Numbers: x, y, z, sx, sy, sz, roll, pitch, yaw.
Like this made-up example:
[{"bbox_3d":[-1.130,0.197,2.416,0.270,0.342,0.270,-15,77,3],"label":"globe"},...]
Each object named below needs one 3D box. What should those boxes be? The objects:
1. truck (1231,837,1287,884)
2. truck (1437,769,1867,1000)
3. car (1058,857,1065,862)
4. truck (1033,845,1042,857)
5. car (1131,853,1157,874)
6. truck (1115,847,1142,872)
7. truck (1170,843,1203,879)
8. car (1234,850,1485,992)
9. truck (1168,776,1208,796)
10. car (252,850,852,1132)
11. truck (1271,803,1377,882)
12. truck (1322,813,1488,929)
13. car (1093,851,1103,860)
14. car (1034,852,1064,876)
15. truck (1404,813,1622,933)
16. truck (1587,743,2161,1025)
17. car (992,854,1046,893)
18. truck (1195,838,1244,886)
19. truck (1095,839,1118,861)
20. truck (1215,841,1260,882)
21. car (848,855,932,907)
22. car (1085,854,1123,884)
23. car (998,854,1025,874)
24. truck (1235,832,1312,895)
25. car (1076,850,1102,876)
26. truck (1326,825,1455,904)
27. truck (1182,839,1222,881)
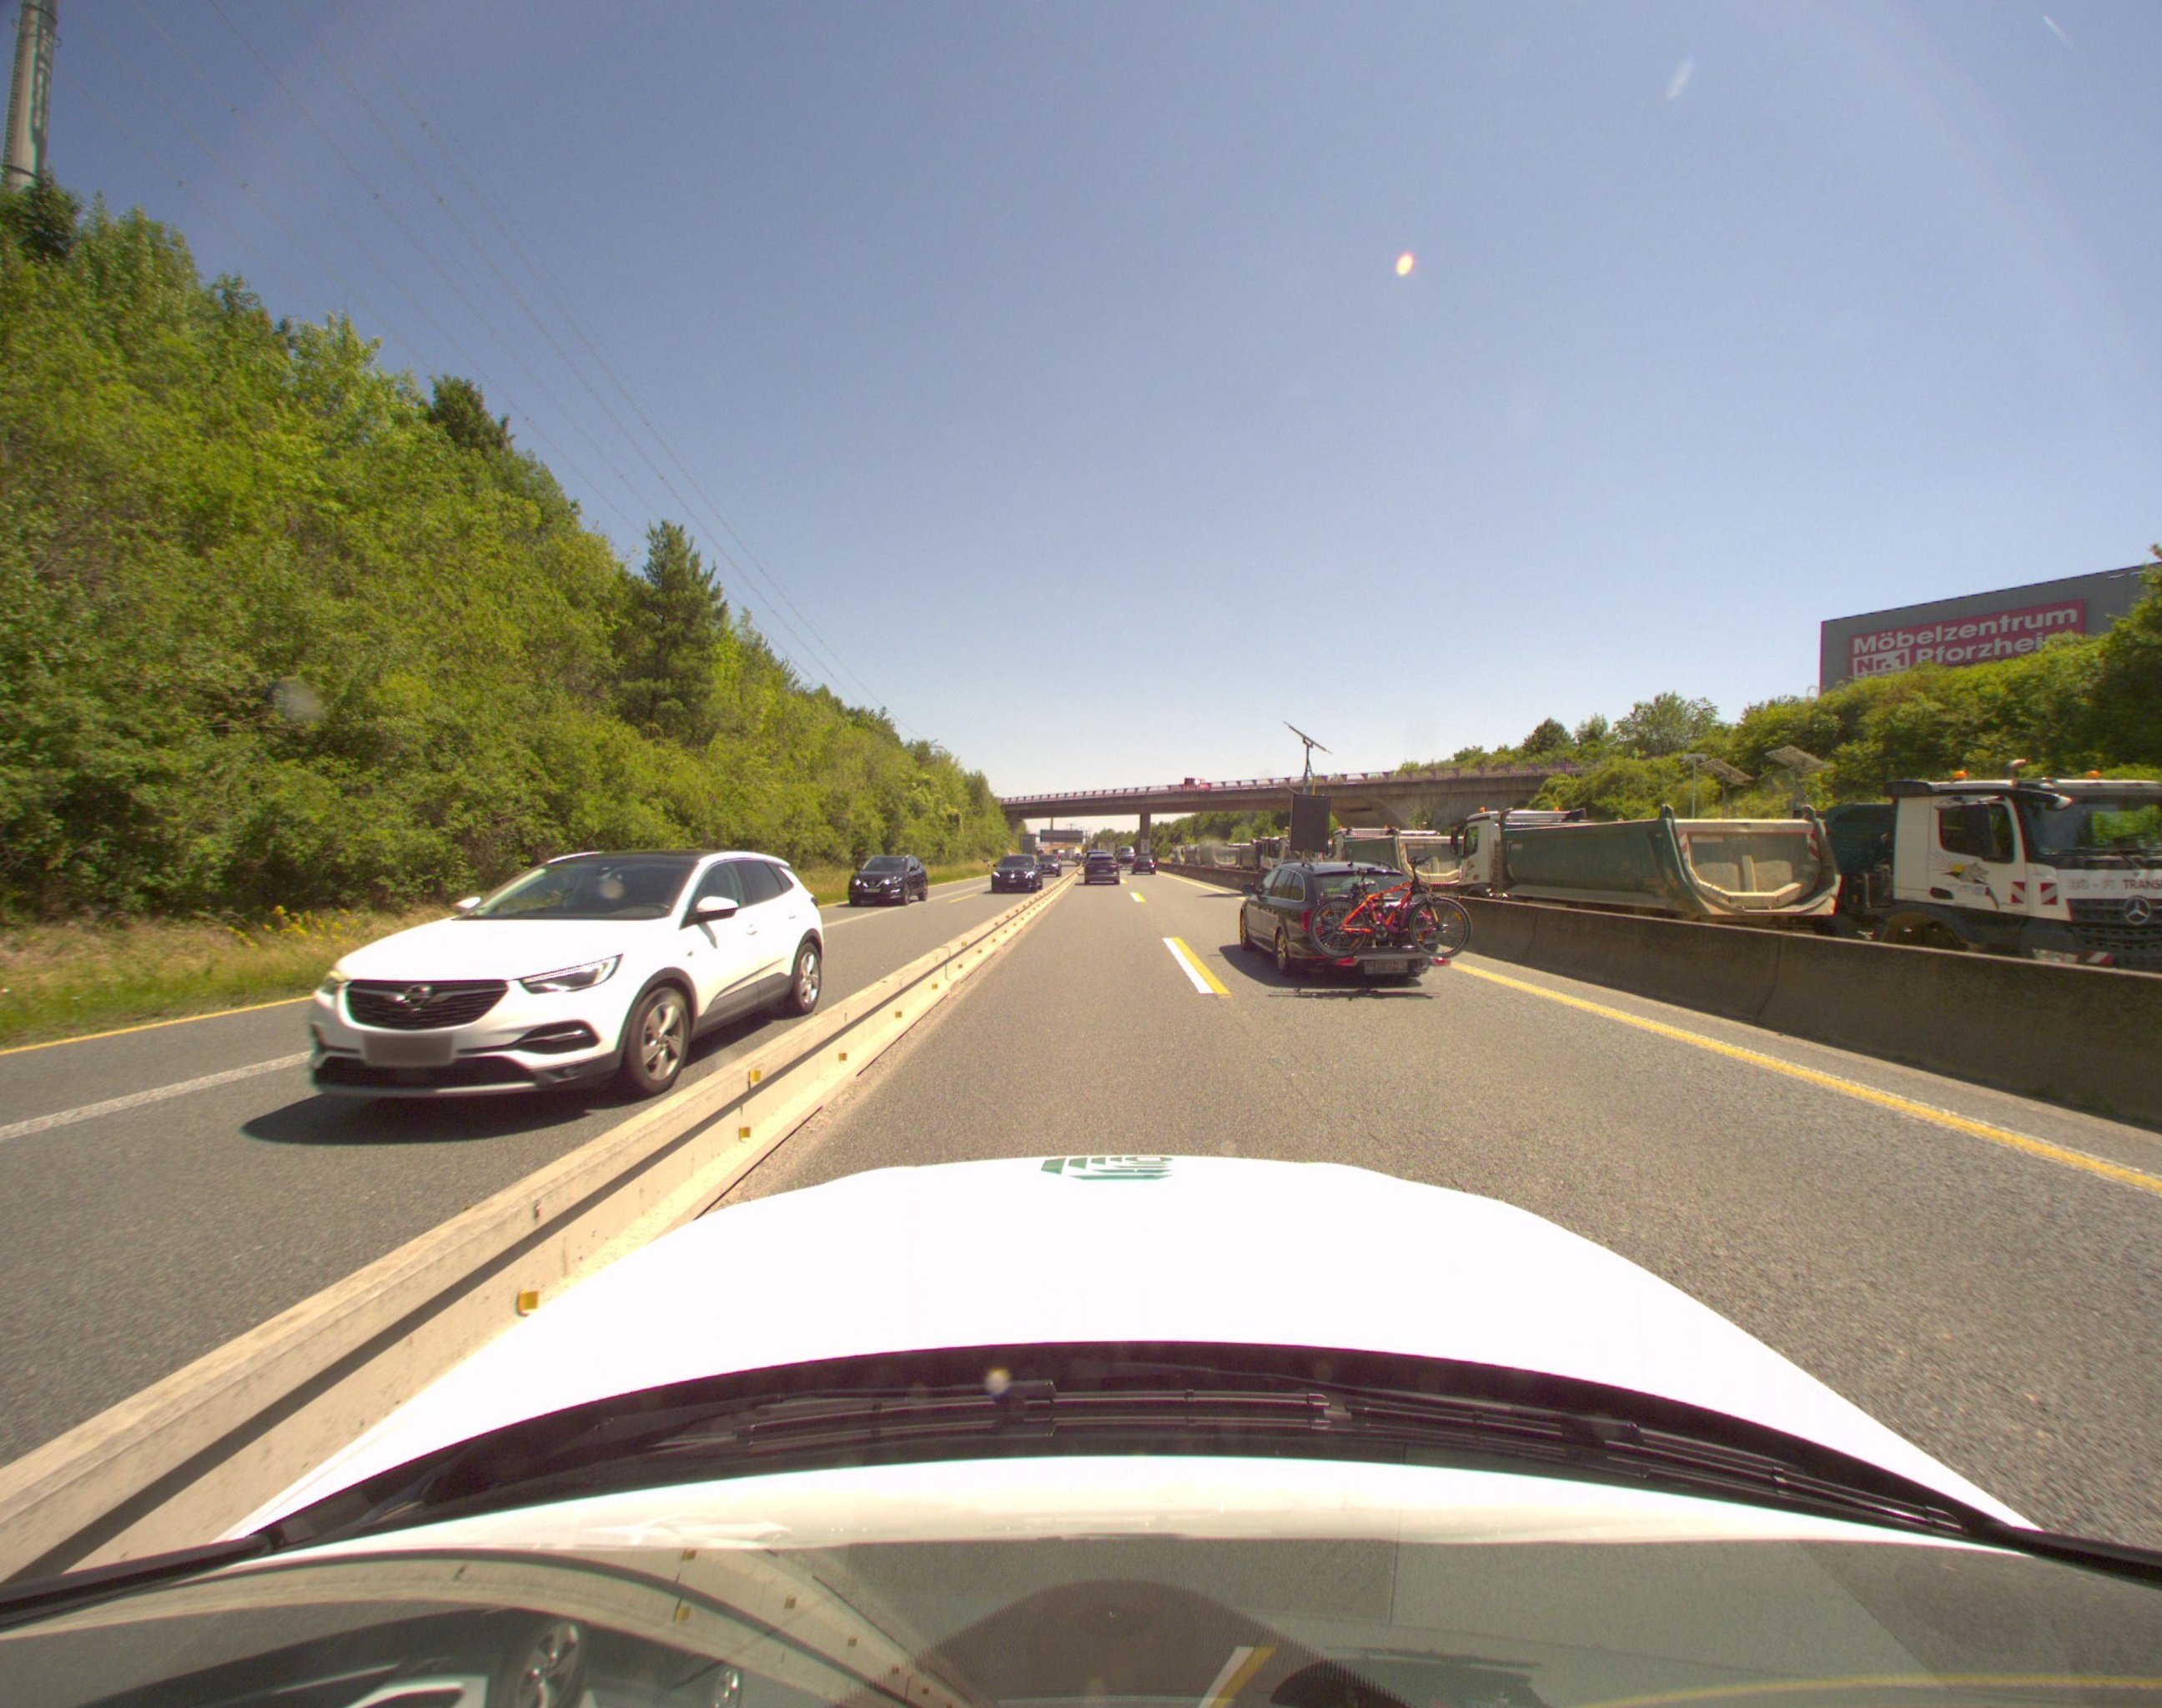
[{"bbox_3d":[14.483,0.498,66.985,2.678,3.557,9.325,0,0,1],"label":"truck"},{"bbox_3d":[10.924,0.479,17.397,2.677,3.557,9.606,0,0,2],"label":"truck"},{"bbox_3d":[-5.140,1.458,211.396,1.668,1.393,4.071,0,-1,1],"label":"car"},{"bbox_3d":[-11.737,-0.789,218.642,2.503,3.186,10.096,0,0,-3],"label":"truck"},{"bbox_3d":[4.906,0.733,63.741,1.892,1.585,4.278,0,0,2],"label":"car"},{"bbox_3d":[4.827,0.527,84.426,2.397,2.558,7.500,0,0,0],"label":"truck"},{"bbox_3d":[11.861,0.783,92.666,2.678,3.843,9.326,0,0,1],"label":"truck"},{"bbox_3d":[3.391,0.722,11.051,1.892,1.490,4.950,0,-1,2],"label":"car"},{"bbox_3d":[13.756,-8.686,104.605,1.944,2.066,5.456,0,-1,-35],"label":"truck"},{"bbox_3d":[-3.544,0.747,6.777,1.837,1.533,4.673,0,0,2],"label":"car"},{"bbox_3d":[12.013,-0.513,41.285,2.678,3.557,9.325,0,0,1],"label":"truck"},{"bbox_3d":[11.399,0.524,29.832,2.677,3.557,9.411,0,0,2],"label":"truck"},{"bbox_3d":[3.749,0.403,184.370,1.895,1.968,4.270,0,0,-4],"label":"car"},{"bbox_3d":[-2.261,0.710,59.389,1.837,1.610,4.701,1,0,2],"label":"car"},{"bbox_3d":[14.021,0.542,27.669,2.676,3.378,9.608,0,0,2],"label":"truck"},{"bbox_3d":[13.578,0.379,15.068,2.677,3.557,9.605,0,0,1],"label":"truck"},{"bbox_3d":[-2.601,0.790,35.212,1.837,1.533,4.673,1,0,2],"label":"car"},{"bbox_3d":[11.528,0.663,68.692,2.678,3.761,9.326,0,0,1],"label":"truck"},{"bbox_3d":[4.623,-0.693,149.509,3.285,3.845,10.096,0,0,-3],"label":"truck"},{"bbox_3d":[14.900,0.698,78.206,2.678,3.727,9.325,0,0,1],"label":"truck"},{"bbox_3d":[-6.150,0.835,26.671,1.693,1.565,3.996,0,0,2],"label":"car"},{"bbox_3d":[1.247,0.784,43.097,1.892,1.505,4.278,0,0,2],"label":"car"},{"bbox_3d":[-5.648,0.804,66.679,1.717,1.522,4.187,0,0,2],"label":"car"},{"bbox_3d":[11.721,0.533,50.610,2.678,3.557,9.325,0,0,1],"label":"truck"},{"bbox_3d":[0.665,0.686,64.853,1.892,1.968,4.278,0,0,2],"label":"car"},{"bbox_3d":[14.614,0.446,39.427,2.678,3.378,9.602,0,0,0],"label":"truck"},{"bbox_3d":[11.842,0.552,80.299,2.678,3.856,9.326,0,0,1],"label":"truck"}]
